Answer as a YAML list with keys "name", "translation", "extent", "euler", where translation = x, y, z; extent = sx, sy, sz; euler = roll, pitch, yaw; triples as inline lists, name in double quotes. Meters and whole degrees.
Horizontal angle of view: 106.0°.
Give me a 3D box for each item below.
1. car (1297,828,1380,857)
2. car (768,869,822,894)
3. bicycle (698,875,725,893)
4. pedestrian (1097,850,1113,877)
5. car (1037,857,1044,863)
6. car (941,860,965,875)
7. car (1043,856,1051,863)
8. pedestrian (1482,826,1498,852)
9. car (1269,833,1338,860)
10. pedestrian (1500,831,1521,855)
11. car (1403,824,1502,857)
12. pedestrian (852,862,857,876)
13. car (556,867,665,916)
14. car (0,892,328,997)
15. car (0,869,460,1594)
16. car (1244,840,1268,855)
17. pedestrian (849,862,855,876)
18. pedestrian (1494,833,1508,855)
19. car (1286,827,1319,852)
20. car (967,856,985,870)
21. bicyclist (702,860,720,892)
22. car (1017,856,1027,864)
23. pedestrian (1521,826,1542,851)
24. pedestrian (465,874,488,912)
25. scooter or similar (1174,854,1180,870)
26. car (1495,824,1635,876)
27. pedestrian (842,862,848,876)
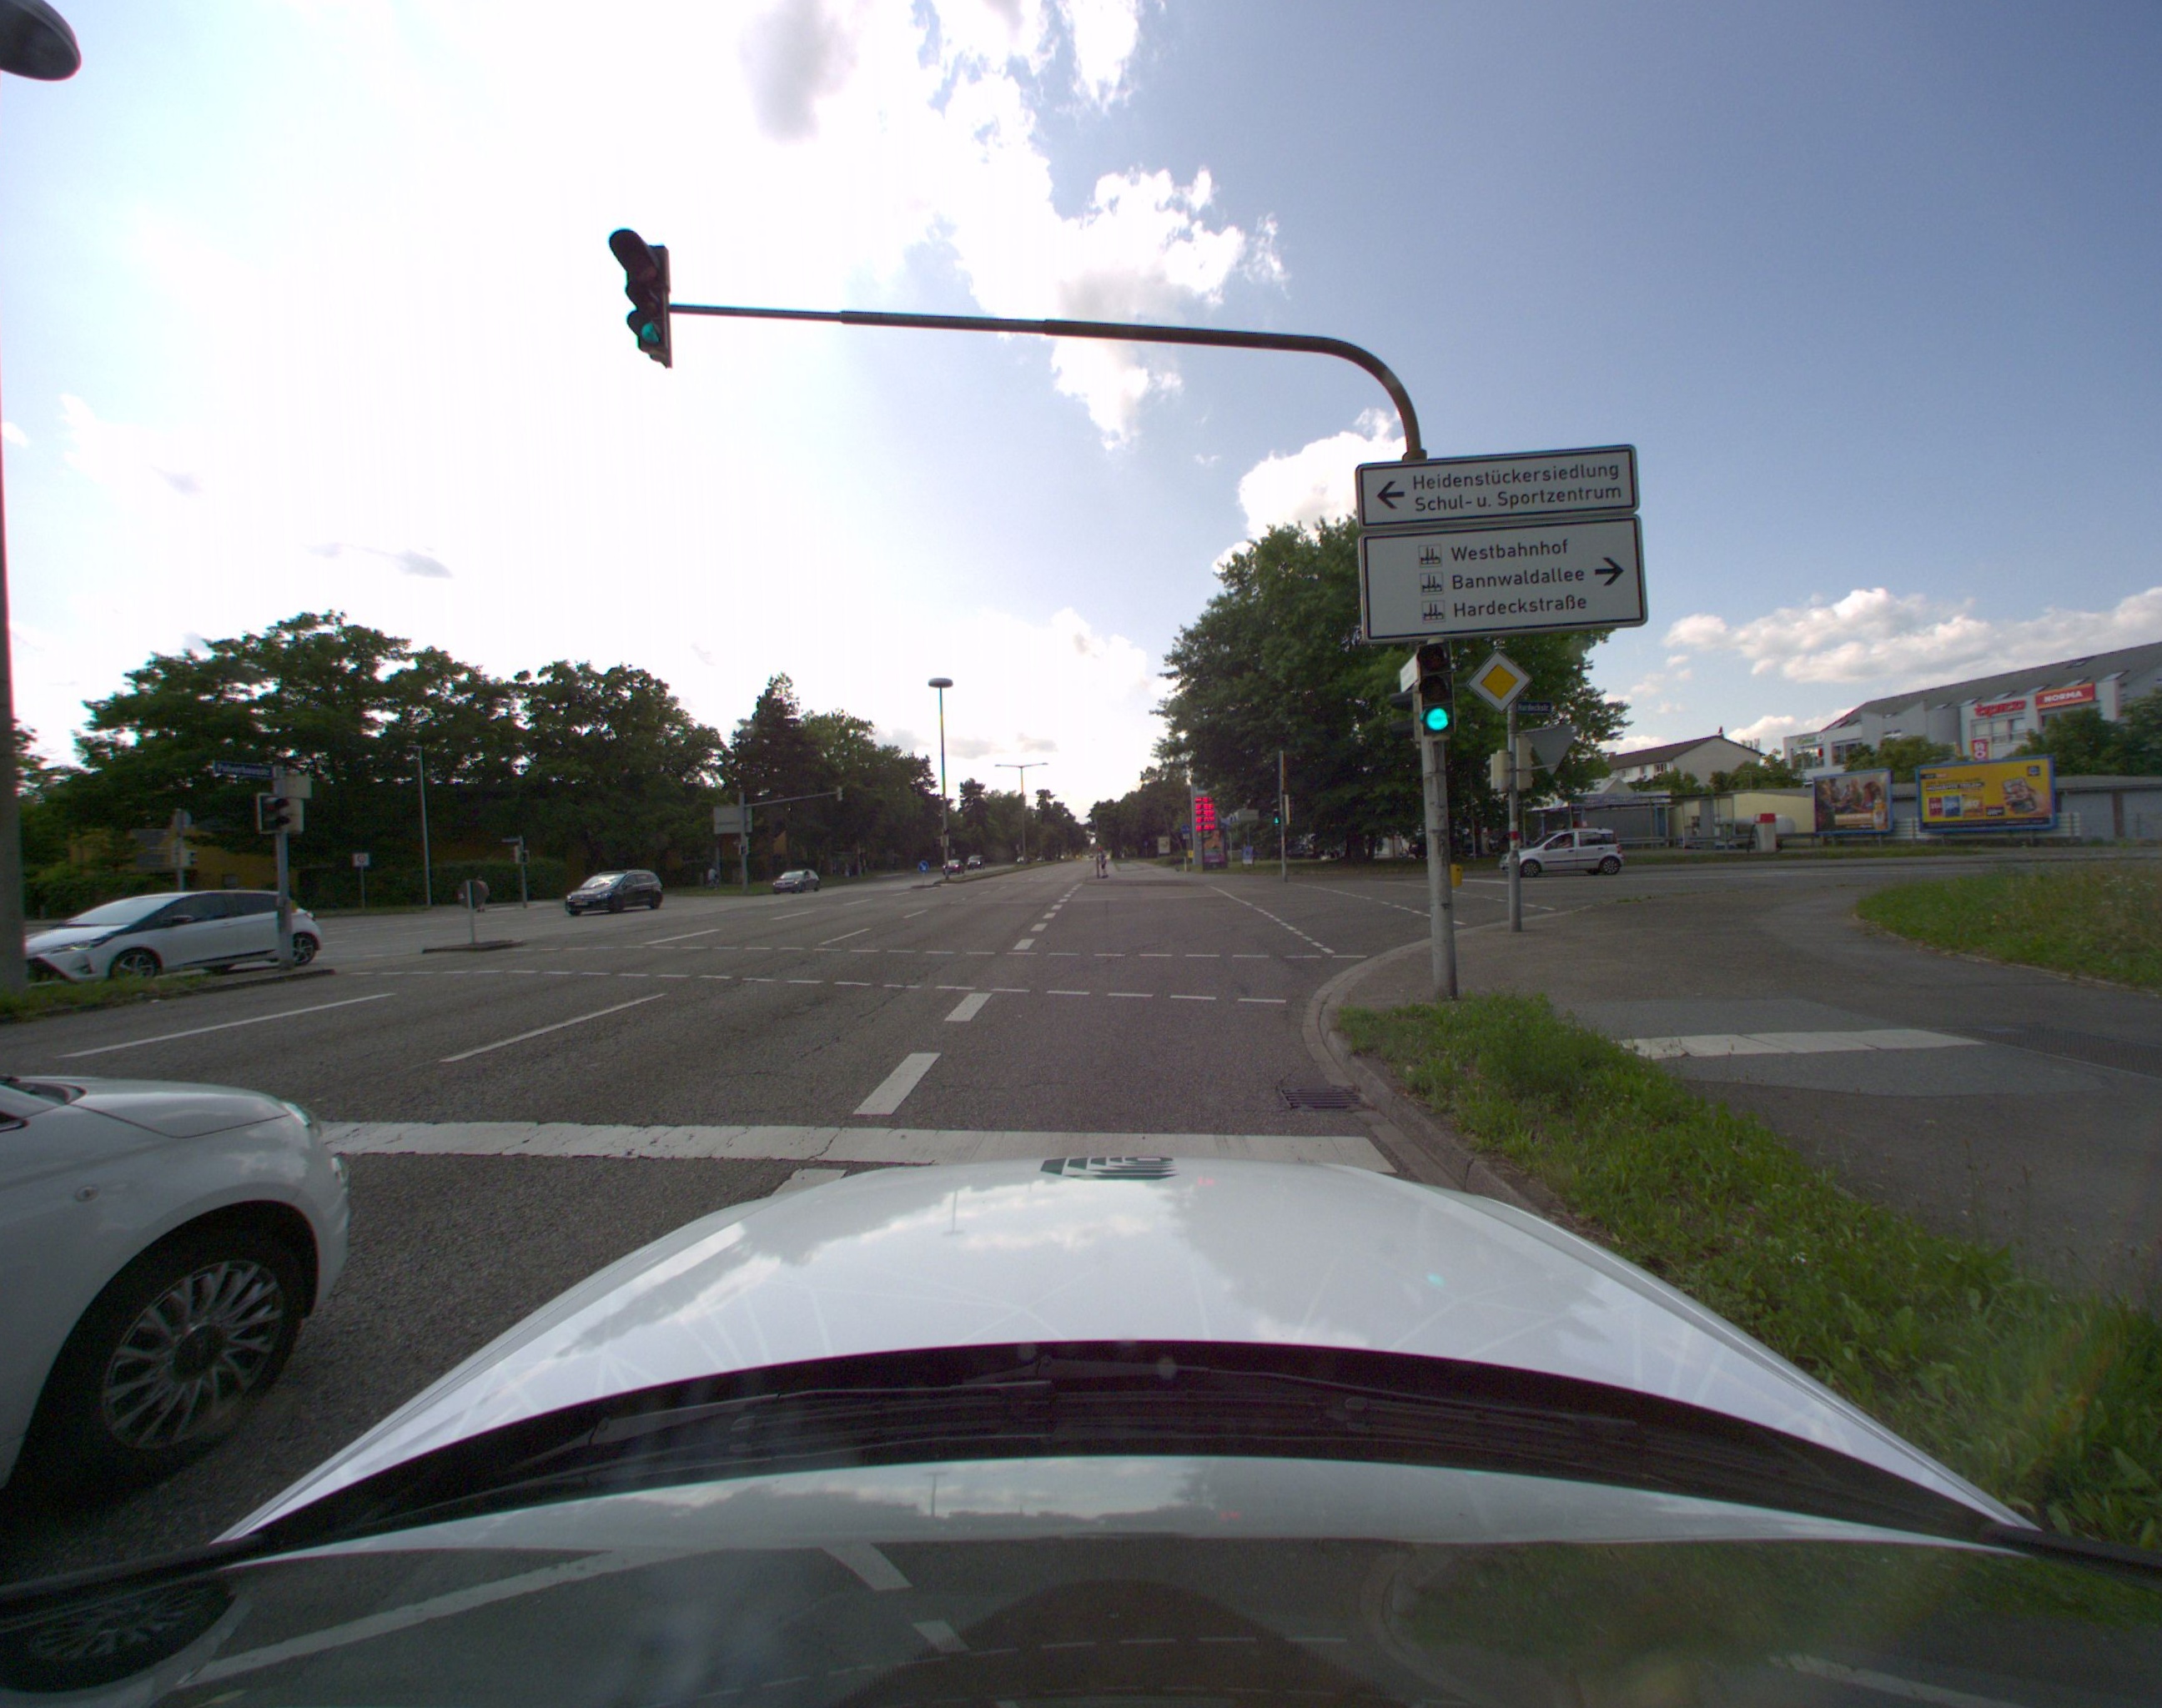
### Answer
- name: "car"
  translation: [18.264, -0.808, 57.837]
  extent: [5.179, 1.827, 2.147]
  euler: [-3, 0, -9]
- name: "car"
  translation: [-17.417, 1.649, 49.763]
  extent: [1.587, 1.372, 4.086]
  euler: [-3, 0, 4]
- name: "bicycle"
  translation: [-24.358, 1.963, 53.712]
  extent: [0.752, 1.119, 2.114]
  euler: [-3, 0, 0]
- name: "pedestrian"
  translation: [1.406, 0.539, 47.765]
  extent: [0.726, 1.531, 0.756]
  euler: [-3, 0, -15]
- name: "car"
  translation: [-11.867, 1.833, 239.796]
  extent: [1.854, 1.705, 4.454]
  euler: [-3, 0, 0]
- name: "car"
  translation: [-13.407, 1.420, 85.380]
  extent: [1.766, 1.465, 4.454]
  euler: [-3, 0, -1]
- name: "car"
  translation: [-8.848, 1.423, 210.393]
  extent: [1.854, 1.705, 4.454]
  euler: [-3, 0, 0]
- name: "pedestrian"
  translation: [23.416, -0.845, 46.575]
  extent: [0.559, 1.495, 0.619]
  euler: [0, -1, -6]
- name: "car"
  translation: [18.746, -0.654, 68.819]
  extent: [5.167, 2.004, 2.152]
  euler: [-3, 0, -2]
- name: "pedestrian"
  translation: [21.897, -0.551, 41.521]
  extent: [0.649, 1.190, 0.757]
  euler: [1, -1, -42]
- name: "car"
  translation: [20.767, -0.754, 45.605]
  extent: [4.548, 1.596, 2.147]
  euler: [-3, 0, -9]
- name: "pedestrian"
  translation: [-23.734, 1.580, 85.349]
  extent: [0.570, 1.496, 0.419]
  euler: [0, -1, -14]
- name: "car"
  translation: [-18.551, 1.424, 32.354]
  extent: [1.664, 1.742, 4.312]
  euler: [-2, -1, 2]
- name: "car"
  translation: [-15.342, 1.423, 13.711]
  extent: [1.746, 1.308, 3.696]
  euler: [-4, -1, 2]
- name: "car"
  translation: [-3.051, 0.787, 1.133]
  extent: [1.564, 1.497, 3.541]
  euler: [0, -1, 2]
- name: "car"
  translation: [18.746, -0.686, 87.536]
  extent: [1.744, 1.454, 3.740]
  euler: [-3, 0, 0]
- name: "pedestrian"
  translation: [-24.210, 1.591, 85.960]
  extent: [0.570, 1.496, 0.419]
  euler: [0, -1, -14]
- name: "pedestrian"
  translation: [30.906, -0.750, 59.949]
  extent: [0.650, 1.544, 0.625]
  euler: [-3, -1, 8]
- name: "car"
  translation: [22.945, -1.437, 84.470]
  extent: [1.744, 2.453, 5.749]
  euler: [-3, 0, 0]
- name: "car"
  translation: [-15.043, 1.261, 116.533]
  extent: [1.759, 1.857, 4.819]
  euler: [-3, 0, 2]
- name: "bicyclist"
  translation: [-24.385, 1.430, 53.675]
  extent: [0.749, 2.013, 0.831]
  euler: [-3, 0, -1]
- name: "car"
  translation: [-13.504, 1.401, 186.631]
  extent: [1.854, 1.705, 4.456]
  euler: [-3, 0, 1]
- name: "pedestrian"
  translation: [22.539, -0.769, 40.725]
  extent: [0.649, 1.255, 0.757]
  euler: [1, -1, -42]
- name: "pedestrian"
  translation: [-28.602, 1.855, 38.535]
  extent: [0.696, 1.742, 0.697]
  euler: [-3, -1, 41]
- name: "scooter or similar"
  translation: [6.094, 0.523, 51.846]
  extent: [0.220, 0.979, 1.273]
  euler: [-3, 0, 2]
- name: "car"
  translation: [15.591, -0.122, 26.395]
  extent: [3.571, 1.517, 1.565]
  euler: [-2, 0, 14]
- name: "pedestrian"
  translation: [-24.744, 1.588, 85.450]
  extent: [0.570, 1.496, 0.419]
  euler: [0, -1, -14]
